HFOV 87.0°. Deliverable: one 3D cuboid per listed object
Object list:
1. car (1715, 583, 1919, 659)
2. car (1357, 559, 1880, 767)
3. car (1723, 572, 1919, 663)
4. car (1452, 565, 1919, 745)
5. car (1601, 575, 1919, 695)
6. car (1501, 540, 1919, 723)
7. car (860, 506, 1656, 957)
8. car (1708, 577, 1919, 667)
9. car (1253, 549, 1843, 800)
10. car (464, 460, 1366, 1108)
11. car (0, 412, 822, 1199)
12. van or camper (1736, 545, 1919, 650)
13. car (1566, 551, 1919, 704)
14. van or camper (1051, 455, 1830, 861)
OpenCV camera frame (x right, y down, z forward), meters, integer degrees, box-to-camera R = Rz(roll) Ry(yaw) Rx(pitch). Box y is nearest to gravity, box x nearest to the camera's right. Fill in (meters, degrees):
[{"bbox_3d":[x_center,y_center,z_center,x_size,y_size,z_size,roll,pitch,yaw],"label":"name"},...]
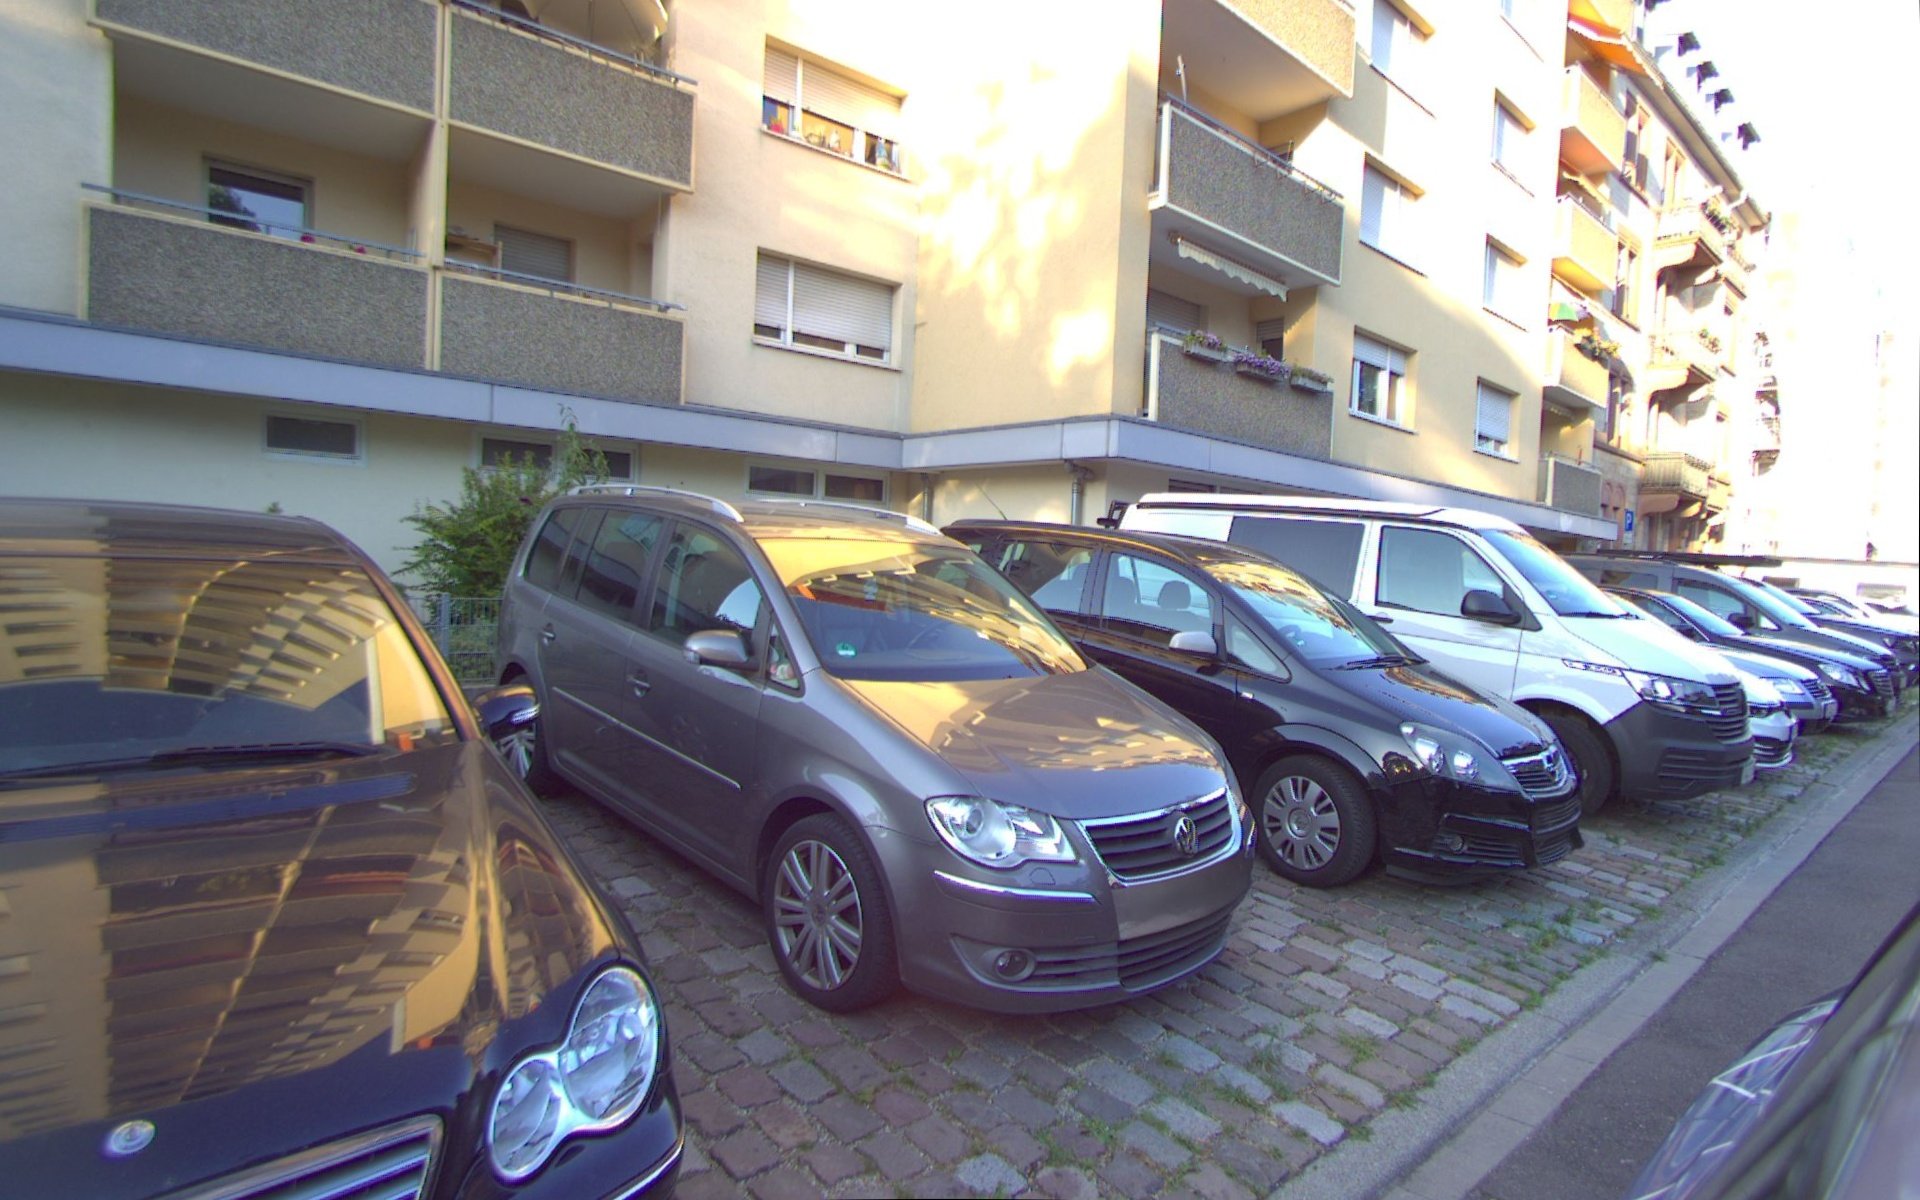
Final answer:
[{"bbox_3d":[22.297,0.470,25.929,1.813,1.638,4.414,-2,4,-40],"label":"car"},{"bbox_3d":[6.922,0.462,11.069,1.814,1.611,4.413,-2,6,-41],"label":"car"},{"bbox_3d":[20.914,0.363,23.729,1.812,1.769,4.419,-1,5,-37],"label":"car"},{"bbox_3d":[8.723,0.475,12.441,1.814,1.581,4.413,-2,6,-41],"label":"car"},{"bbox_3d":[14.063,0.484,17.715,1.813,1.572,4.416,-2,5,-39],"label":"car"},{"bbox_3d":[10.499,0.247,14.271,1.814,2.004,4.647,-2,6,-41],"label":"car"},{"bbox_3d":[1.428,0.365,6.218,1.752,1.680,4.334,-2,7,-43],"label":"car"},{"bbox_3d":[19.156,0.427,21.898,1.813,1.572,4.415,-2,6,-40],"label":"car"},{"bbox_3d":[5.231,0.431,9.552,1.814,1.650,4.413,-2,6,-41],"label":"car"},{"bbox_3d":[-0.676,0.238,4.810,1.815,1.680,4.412,-2,7,-43],"label":"car"},{"bbox_3d":[-2.441,0.380,2.953,1.815,1.549,4.411,-2,6,-43],"label":"car"},{"bbox_3d":[24.938,-0.040,27.177,2.014,2.534,6.074,1,4,-41],"label":"van or camper"},{"bbox_3d":[12.298,0.304,15.740,1.814,1.885,4.522,0,4,-42],"label":"car"},{"bbox_3d":[3.384,0.060,8.147,2.006,2.192,5.144,0,7,-43],"label":"van or camper"}]
